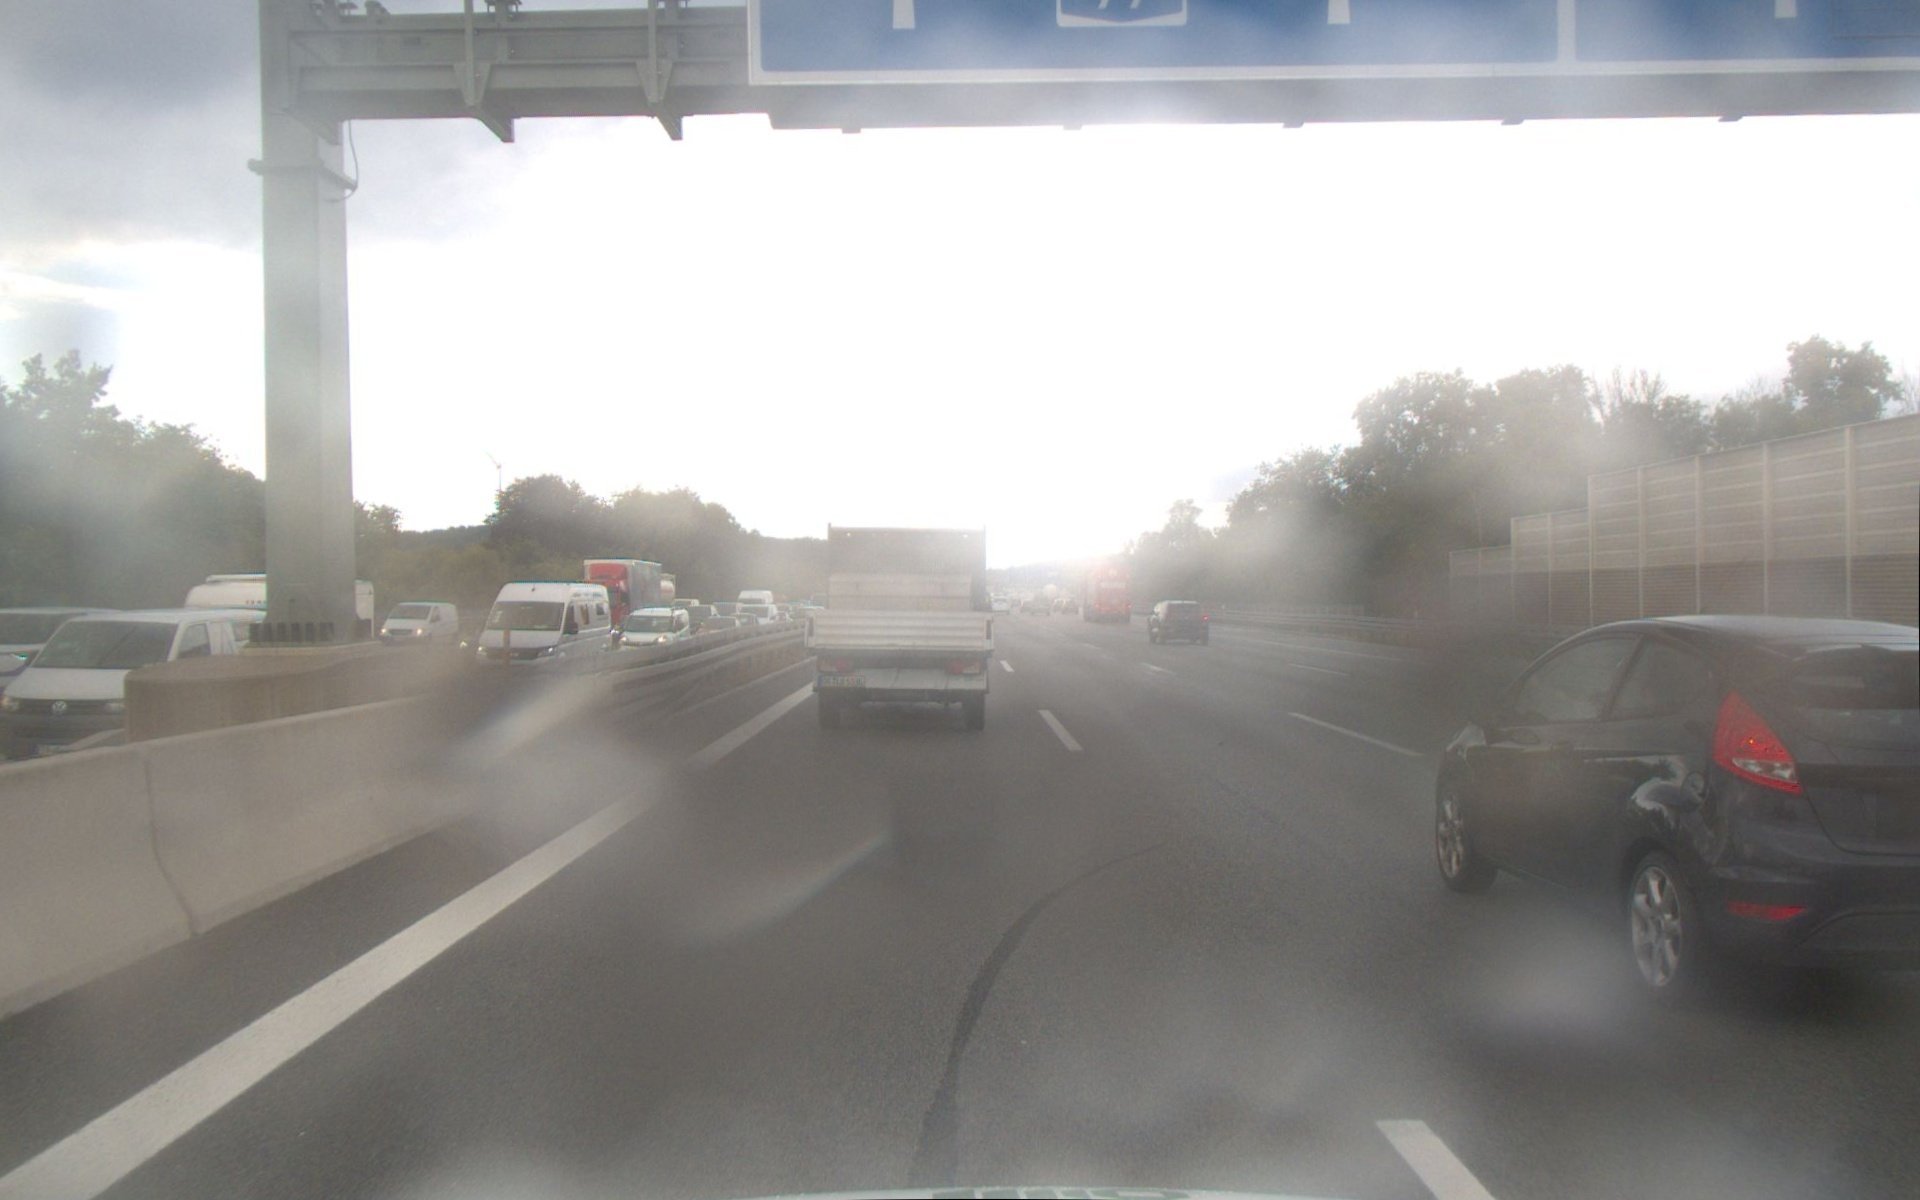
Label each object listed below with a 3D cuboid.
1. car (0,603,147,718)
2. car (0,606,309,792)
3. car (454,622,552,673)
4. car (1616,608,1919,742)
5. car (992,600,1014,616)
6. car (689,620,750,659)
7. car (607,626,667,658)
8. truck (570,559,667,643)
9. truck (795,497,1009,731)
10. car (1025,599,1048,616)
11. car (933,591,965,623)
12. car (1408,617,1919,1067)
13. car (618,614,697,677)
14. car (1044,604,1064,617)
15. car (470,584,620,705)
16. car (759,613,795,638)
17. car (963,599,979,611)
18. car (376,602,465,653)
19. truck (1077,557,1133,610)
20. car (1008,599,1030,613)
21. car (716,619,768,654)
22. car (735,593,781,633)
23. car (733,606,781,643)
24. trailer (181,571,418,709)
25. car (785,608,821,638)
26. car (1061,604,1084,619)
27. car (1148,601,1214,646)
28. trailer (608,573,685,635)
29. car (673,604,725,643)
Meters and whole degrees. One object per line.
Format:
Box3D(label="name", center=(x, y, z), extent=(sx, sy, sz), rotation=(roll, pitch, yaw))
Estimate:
Box3D(label="car", center=(-18.181, 1.126, 32.803), extent=(1.942, 2.114, 4.477), rotation=(-1, 0, -1))
Box3D(label="car", center=(-10.460, 1.150, 21.672), extent=(1.781, 2.114, 5.374), rotation=(-1, 0, -1))
Box3D(label="car", center=(-14.140, 1.435, 51.443), extent=(1.781, 1.449, 4.478), rotation=(1, 0, 0))
Box3D(label="car", center=(9.888, 0.839, 20.406), extent=(1.910, 1.443, 4.232), rotation=(0, 0, 0))
Box3D(label="car", center=(4.364, 0.763, 168.657), extent=(1.929, 1.588, 4.430), rotation=(-1, 0, -3))
Box3D(label="car", center=(-9.698, 1.582, 67.011), extent=(1.855, 1.486, 4.477), rotation=(-1, 0, -1))
Box3D(label="car", center=(-14.289, 1.847, 73.375), extent=(1.855, 1.319, 4.579), rotation=(-1, 0, -1))
Box3D(label="truck", center=(-18.336, 0.061, 89.662), extent=(2.741, 4.184, 12.293), rotation=(-1, 0, 0))
Box3D(label="truck", center=(-0.674, 0.181, 21.223), extent=(2.260, 2.482, 7.146), rotation=(0, -1, -1))
Box3D(label="car", center=(7.611, 0.735, 164.919), extent=(1.929, 1.588, 4.430), rotation=(-1, 0, -3))
Box3D(label="car", center=(-0.634, 0.349, 90.887), extent=(1.682, 1.652, 4.278), rotation=(0, 1, -1))
Box3D(label="car", center=(3.471, 0.799, 7.479), extent=(1.682, 1.442, 4.277), rotation=(0, -1, -1))
Box3D(label="car", center=(-10.176, 1.473, 55.991), extent=(1.781, 1.986, 5.222), rotation=(-1, 0, -1))
Box3D(label="car", center=(11.555, 1.245, 203.145), extent=(1.929, 1.588, 4.430), rotation=(-1, 0, -3))
Box3D(label="car", center=(-10.214, 1.019, 41.345), extent=(1.983, 2.725, 7.309), rotation=(-1, 0, -1))
Box3D(label="car", center=(-10.099, 1.412, 91.452), extent=(1.589, 1.320, 4.250), rotation=(-1, 0, -1))
Box3D(label="car", center=(1.493, 0.605, 225.253), extent=(1.928, 1.588, 4.430), rotation=(-1, 0, -3))
Box3D(label="car", center=(-21.567, 1.069, 66.353), extent=(1.855, 1.946, 5.138), rotation=(-1, 0, 0))
Box3D(label="truck", center=(10.648, -1.249, 122.623), extent=(3.087, 3.664, 12.700), rotation=(1, 1, 1))
Box3D(label="car", center=(6.680, 0.695, 187.780), extent=(1.929, 1.588, 4.429), rotation=(-1, 0, -4))
Box3D(label="car", center=(-10.087, 1.658, 76.821), extent=(1.855, 1.515, 4.477), rotation=(-1, 0, -1))
Box3D(label="car", center=(-14.035, 0.866, 115.361), extent=(2.083, 2.682, 7.610), rotation=(-1, 0, 1))
Box3D(label="car", center=(-10.402, 1.225, 85.090), extent=(1.855, 1.832, 5.840), rotation=(-1, 0, -1))
Box3D(label="trailer", center=(-14.250, 0.797, 36.335), extent=(2.294, 2.699, 7.183), rotation=(-1, 0, 0))
Box3D(label="car", center=(-10.012, 1.436, 106.024), extent=(1.855, 1.832, 5.569), rotation=(-1, 0, -1))
Box3D(label="car", center=(12.214, 1.250, 180.046), extent=(1.929, 1.588, 4.430), rotation=(-1, 0, -3))
Box3D(label="car", center=(8.049, 0.823, 60.603), extent=(1.844, 1.569, 4.433), rotation=(-1, 0, 0))
Box3D(label="trailer", center=(-21.920, 0.287, 116.480), extent=(2.946, 4.103, 13.137), rotation=(-1, 0, 0))
Box3D(label="car", center=(-13.942, 1.215, 88.679), extent=(1.855, 1.996, 5.587), rotation=(-1, 0, 0))
